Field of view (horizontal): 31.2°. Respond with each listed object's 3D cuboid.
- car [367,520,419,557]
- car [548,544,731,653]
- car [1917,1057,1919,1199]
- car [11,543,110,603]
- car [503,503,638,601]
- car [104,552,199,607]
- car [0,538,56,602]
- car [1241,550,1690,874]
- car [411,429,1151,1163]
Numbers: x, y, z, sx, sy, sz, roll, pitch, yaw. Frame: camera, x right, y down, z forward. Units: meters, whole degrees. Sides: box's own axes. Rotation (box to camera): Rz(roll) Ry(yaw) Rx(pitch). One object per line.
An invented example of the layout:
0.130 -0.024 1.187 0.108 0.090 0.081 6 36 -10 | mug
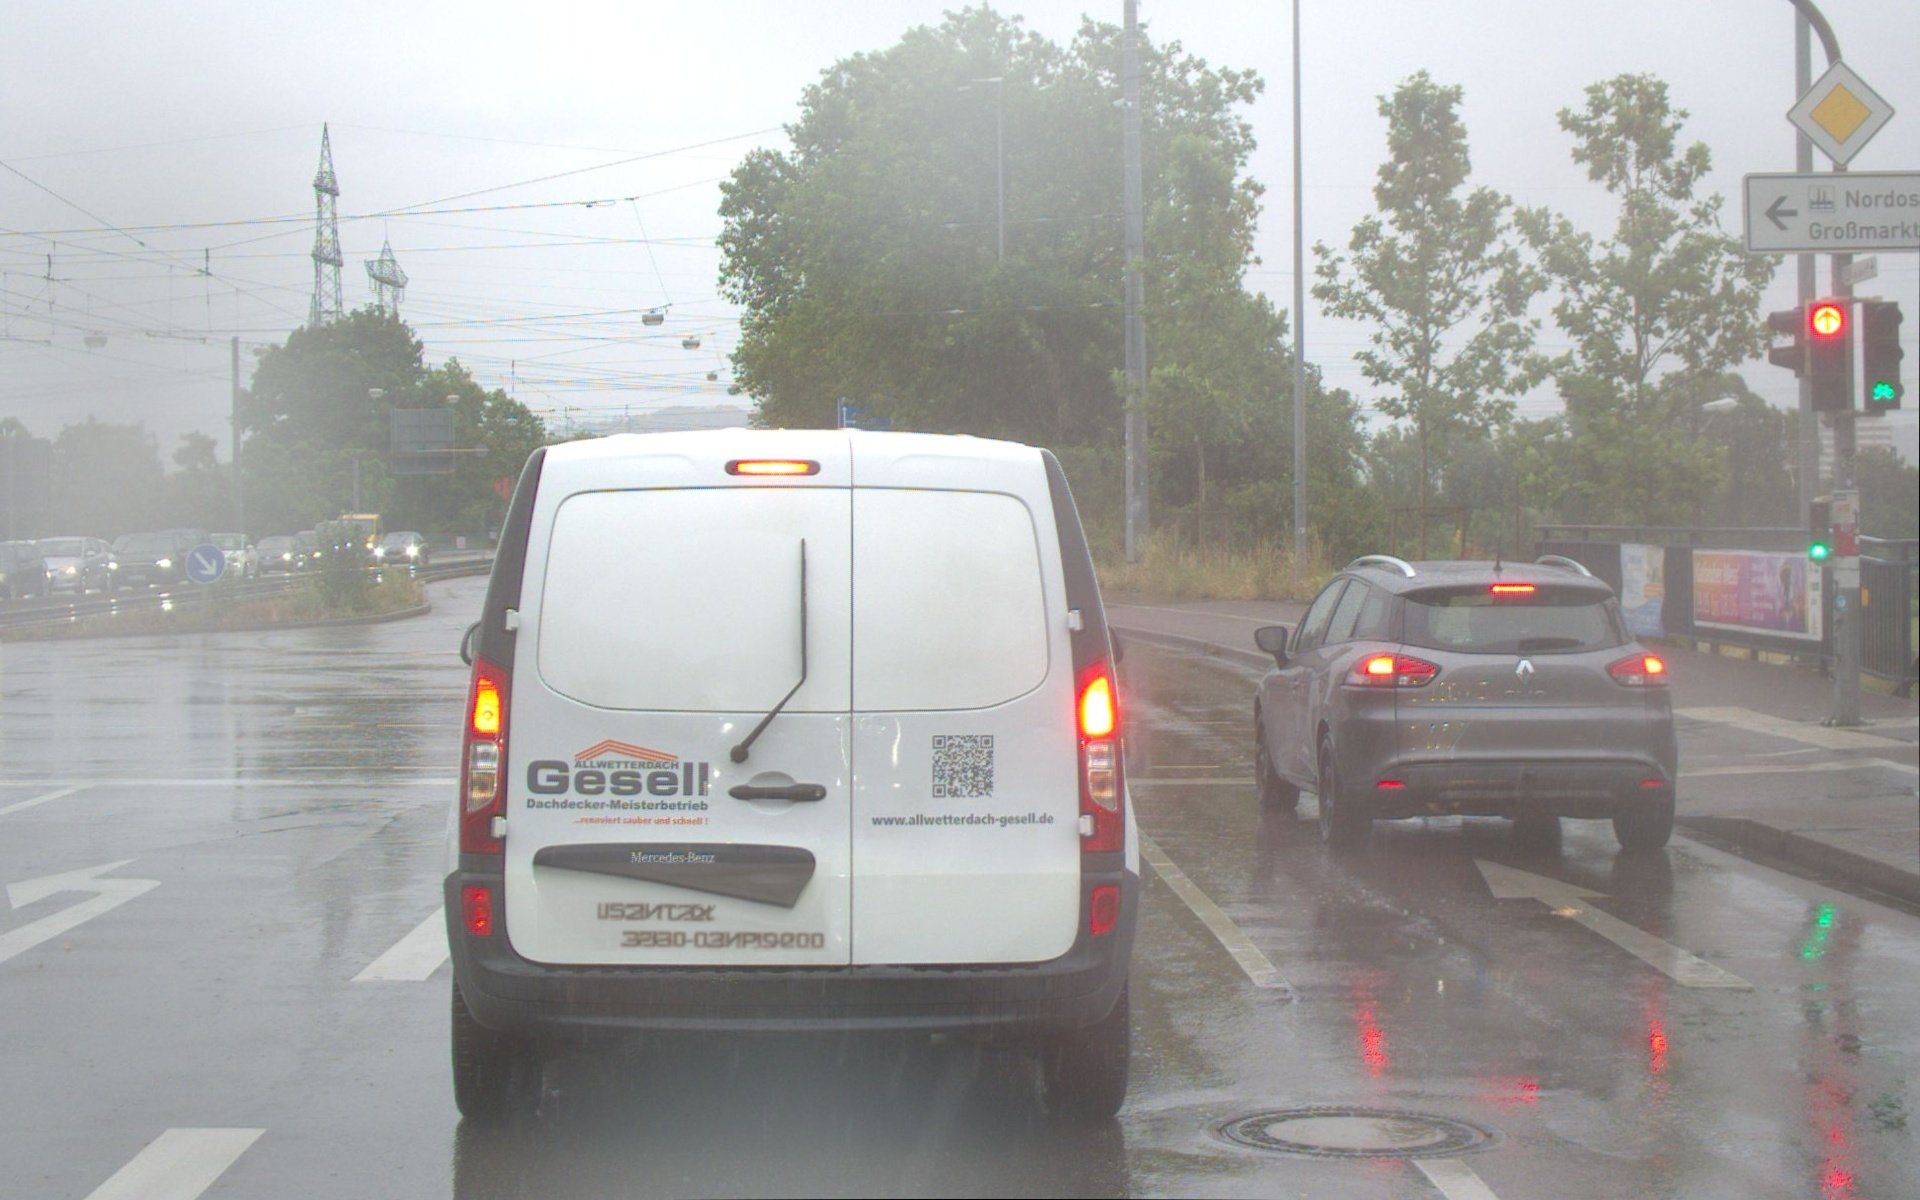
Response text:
-23.514 -2.558 142.709 1.559 1.421 3.569 2 0 -1 | car
-4.521 0.006 49.049 1.712 1.446 4.198 1 0 7 | car
2.740 0.721 4.930 1.597 1.361 3.631 1 1 -2 | car
-22.590 -0.658 86.452 1.559 1.421 3.569 2 0 -1 | car
-7.147 -0.853 63.434 1.947 1.656 4.464 2 0 0 | car
-22.024 -0.542 93.767 1.710 1.421 3.809 2 0 -1 | car
-22.296 -0.698 80.000 1.559 1.421 3.569 2 0 -1 | car
2.549 0.509 18.207 1.684 1.503 3.921 1 1 -1 | car
-0.571 0.417 10.302 1.754 1.744 4.170 0 2 -4 | car
